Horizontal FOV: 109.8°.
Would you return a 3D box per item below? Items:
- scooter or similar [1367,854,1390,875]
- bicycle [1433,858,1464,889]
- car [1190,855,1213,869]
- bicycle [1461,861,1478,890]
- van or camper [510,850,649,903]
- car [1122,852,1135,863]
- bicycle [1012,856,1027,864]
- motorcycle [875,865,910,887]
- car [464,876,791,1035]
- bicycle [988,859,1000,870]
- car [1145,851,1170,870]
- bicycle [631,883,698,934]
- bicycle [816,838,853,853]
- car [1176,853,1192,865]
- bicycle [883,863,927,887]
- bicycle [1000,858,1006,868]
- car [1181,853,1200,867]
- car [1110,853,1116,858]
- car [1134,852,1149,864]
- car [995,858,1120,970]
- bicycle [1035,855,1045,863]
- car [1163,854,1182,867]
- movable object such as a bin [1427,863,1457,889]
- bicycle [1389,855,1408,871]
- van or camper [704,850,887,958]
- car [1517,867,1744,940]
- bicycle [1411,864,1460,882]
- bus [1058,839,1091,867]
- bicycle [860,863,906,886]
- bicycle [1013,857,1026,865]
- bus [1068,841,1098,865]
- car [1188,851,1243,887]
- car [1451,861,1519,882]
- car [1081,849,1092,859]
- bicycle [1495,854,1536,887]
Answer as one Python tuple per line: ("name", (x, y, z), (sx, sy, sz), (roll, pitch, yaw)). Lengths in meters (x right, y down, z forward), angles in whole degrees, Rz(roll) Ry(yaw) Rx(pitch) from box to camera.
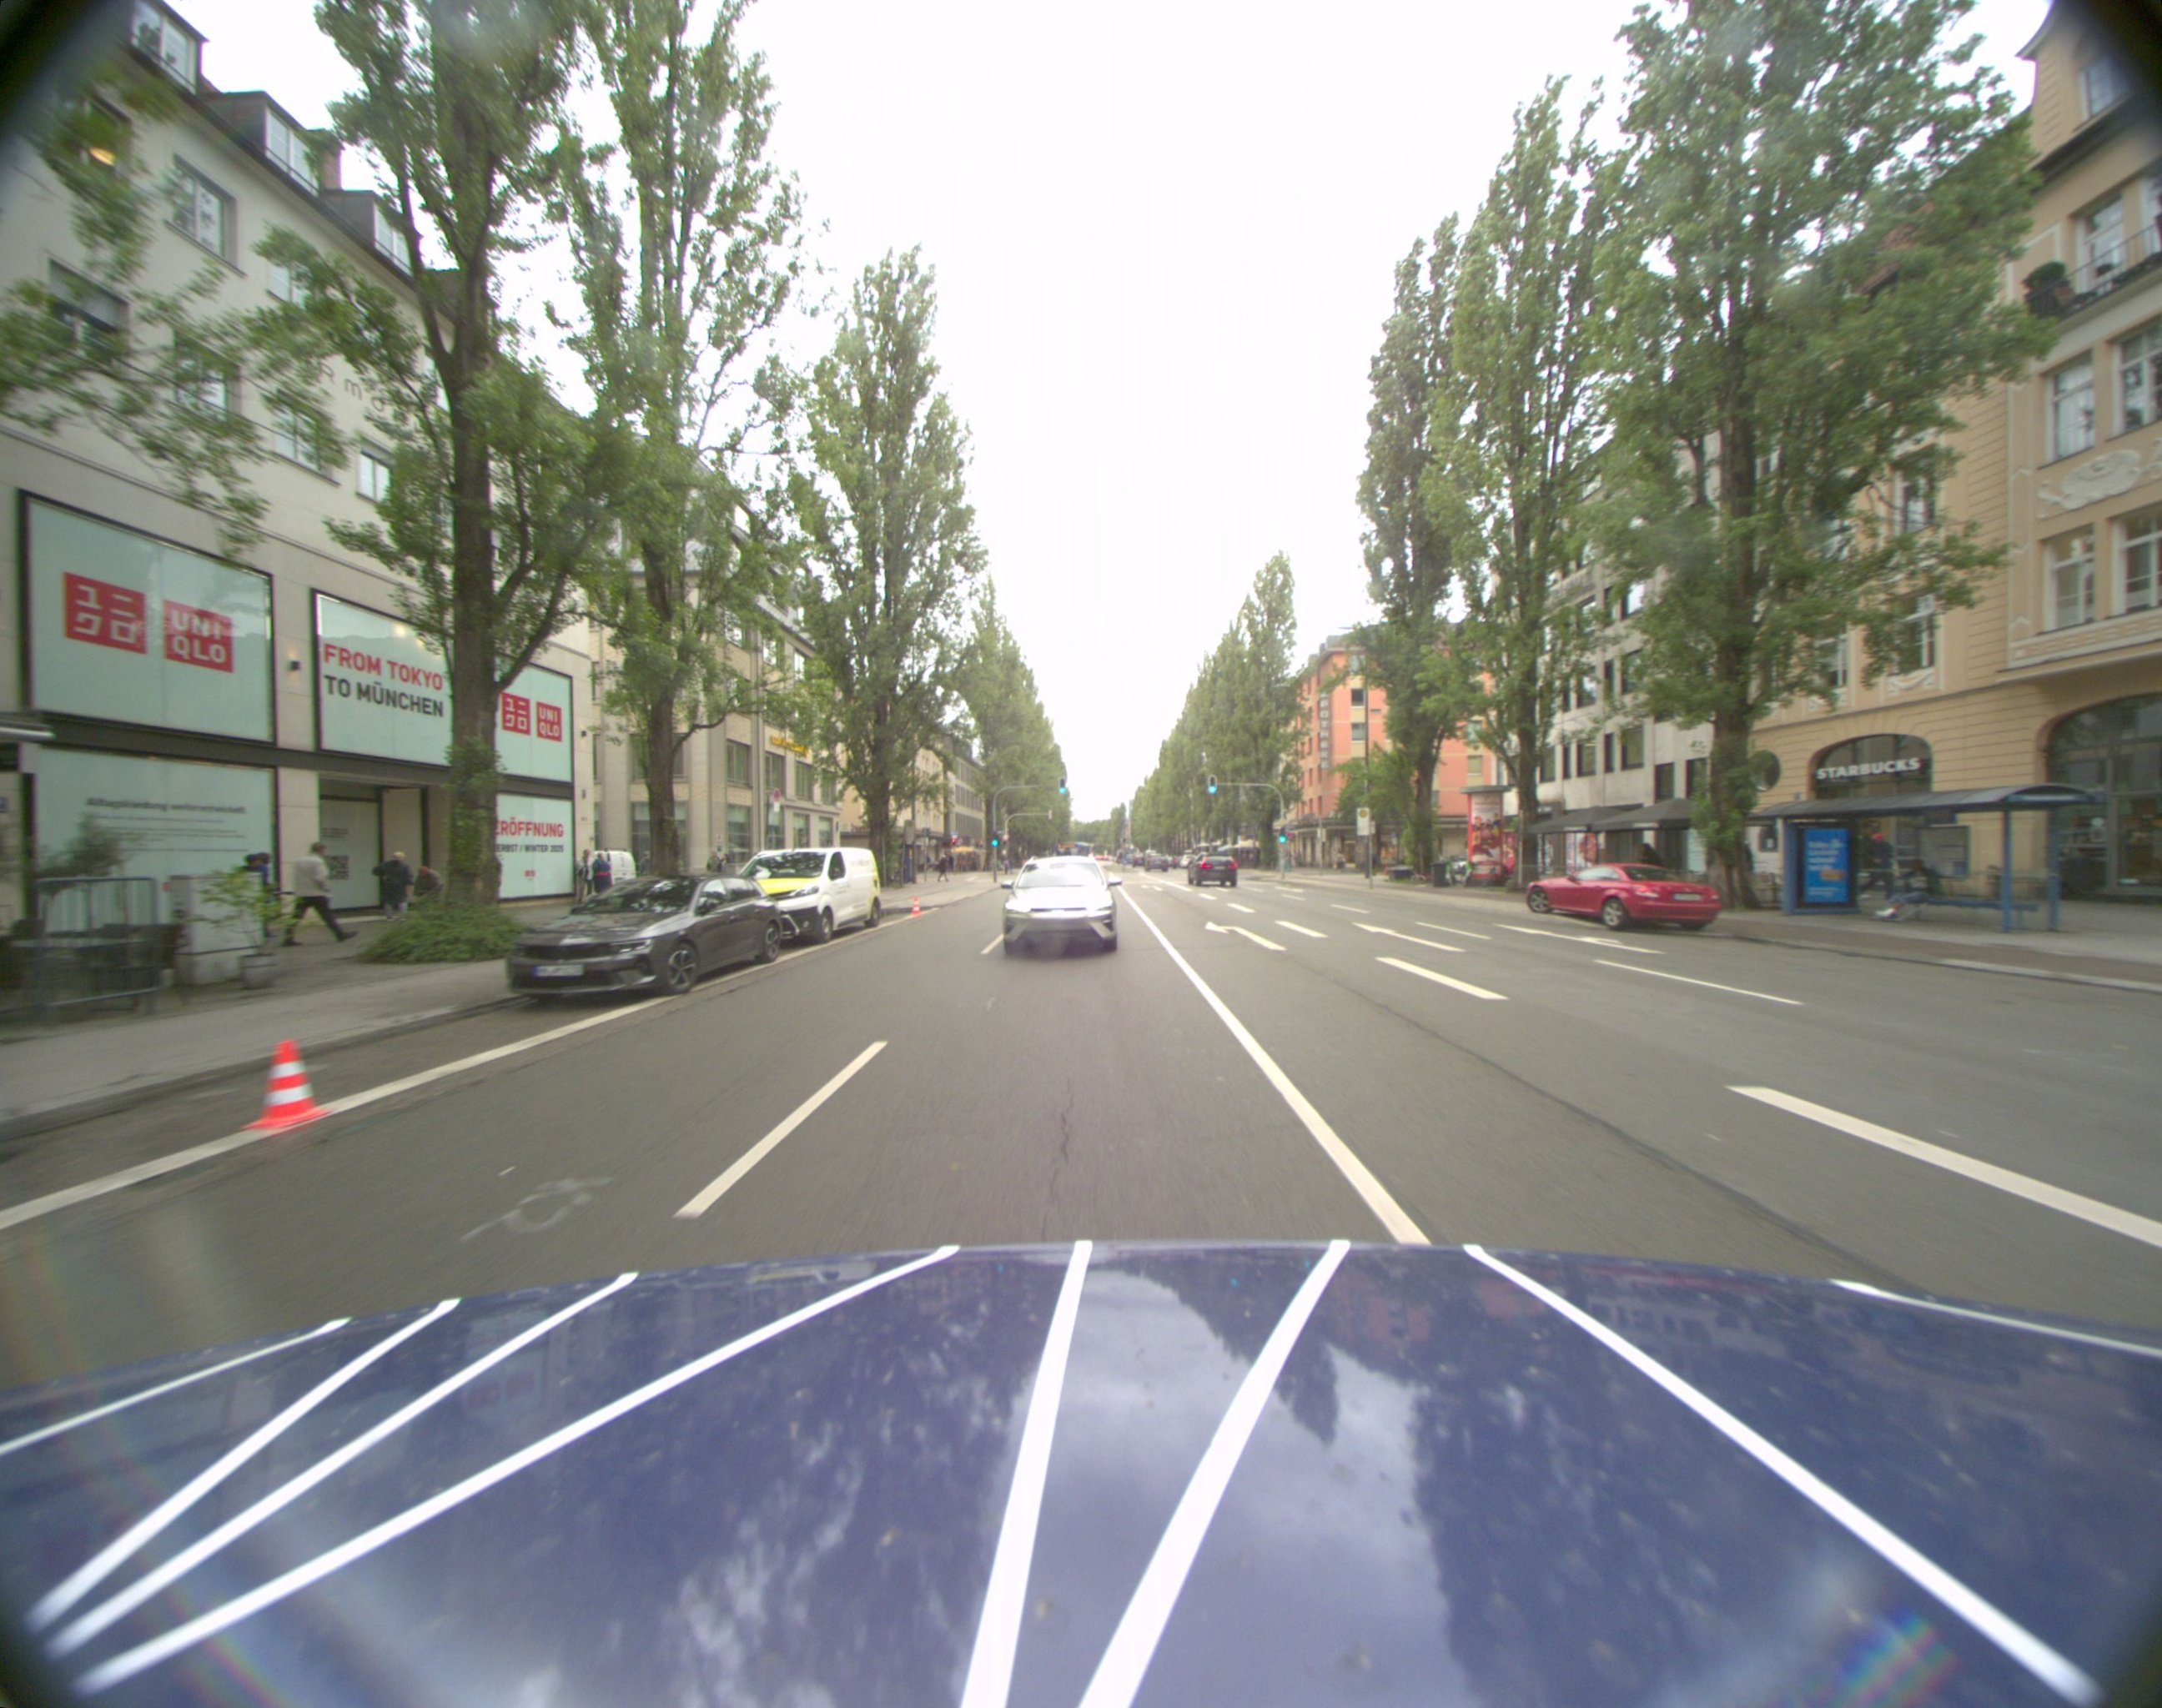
("scooter or similar", (19.326, 0.667, 49.378), (1.362, 1.331, 0.439), (-1, 1, 21))
("bicycle", (16.202, 0.833, 33.484), (1.958, 1.282, 0.507), (-3, 1, -41))
("car", (12.801, 0.802, 80.969), (1.707, 1.430, 4.589), (1, 1, -1))
("bicycle", (16.040, 0.885, 31.386), (0.507, 1.082, 1.812), (-2, 1, 24))
("van or camper", (-19.309, 0.854, 29.389), (4.113, 1.856, 1.898), (-2, 1, 5))
("car", (7.667, 0.526, 122.437), (1.889, 1.736, 4.439), (-1, 0, 2))
("bicycle", (-8.269, 0.816, 101.619), (2.005, 0.939, 0.286), (-1, 1, -7))
("motorcycle", (-10.040, 1.170, 40.420), (1.728, 1.133, 0.510), (-1, 1, 2))
("car", (-5.557, 1.122, 10.104), (1.724, 1.434, 4.353), (-3, 0, -1))
("bicycle", (-8.916, 1.060, 77.660), (0.405, 1.064, 1.813), (-6, 0, 17))
("car", (7.040, 0.603, 70.173), (1.918, 1.671, 4.586), (1, 0, 1))
("bicycle", (-9.549, 1.225, 17.481), (0.365, 1.032, 1.731), (-1, 0, 9))
("bicycle", (-21.880, -0.761, 67.511), (2.978, 1.245, 0.999), (-2, 1, 1))
("car", (12.774, 0.561, 94.296), (1.497, 1.373, 4.186), (1, 1, 1))
("bicycle", (-9.727, 1.157, 42.094), (2.321, 1.245, 0.477), (-1, 1, 1))
("bicycle", (-8.251, 0.912, 80.379), (0.510, 1.042, 1.770), (-1, 0, -1))
("car", (12.689, 0.652, 88.427), (1.707, 1.574, 4.096), (0, 0, 1))
("car", (9.571, 0.447, 228.525), (1.848, 1.626, 4.575), (1, 0, 2))
("car", (7.504, 0.459, 94.358), (1.565, 1.487, 3.694), (0, 0, 0))
("car", (-0.327, 0.892, 13.078), (1.758, 1.529, 3.916), (-2, 0, 0))
("bicycle", (-7.546, 0.954, 140.149), (0.829, 1.403, 2.594), (-2, 0, -25))
("car", (10.009, 0.675, 83.302), (1.646, 1.431, 3.997), (0, 0, 0))
("movable object such as a bin", (15.173, 0.913, 31.927), (0.725, 1.035, 0.853), (-3, 1, -28))
("bicycle", (24.459, 0.684, 58.488), (0.416, 1.177, 2.062), (-1, 0, -6))
("van or camper", (-5.664, 0.871, 15.857), (1.873, 1.872, 4.903), (-1, 0, 1))
("car", (11.521, 0.963, 16.339), (1.884, 1.290, 4.094), (0, 0, -1))
("bicycle", (16.850, 0.893, 36.110), (1.955, 0.510, 0.826), (-2, 22, -17))
("bus", (-0.555, -0.125, 86.586), (2.805, 2.886, 12.861), (0, 0, 4))
("bicycle", (-10.777, 1.116, 41.403), (2.349, 1.245, 0.633), (-1, 1, 1))
("bicycle", (-8.576, 1.008, 105.986), (1.666, 1.100, 0.396), (-1, 1, -10))
("bus", (0.391, -0.162, 99.416), (2.805, 2.886, 12.862), (0, 0, 5))
("car", (6.473, 0.690, 37.071), (1.940, 1.614, 4.336), (1, 0, 1))
("car", (29.303, 1.276, 55.182), (3.994, 1.412, 1.783), (-1, 0, 10))
("car", (1.027, -0.005, 141.918), (2.052, 1.671, 4.586), (1, 0, 1))
("bicycle", (17.966, 0.678, 31.392), (1.957, 1.293, 0.584), (-1, 1, -30))
